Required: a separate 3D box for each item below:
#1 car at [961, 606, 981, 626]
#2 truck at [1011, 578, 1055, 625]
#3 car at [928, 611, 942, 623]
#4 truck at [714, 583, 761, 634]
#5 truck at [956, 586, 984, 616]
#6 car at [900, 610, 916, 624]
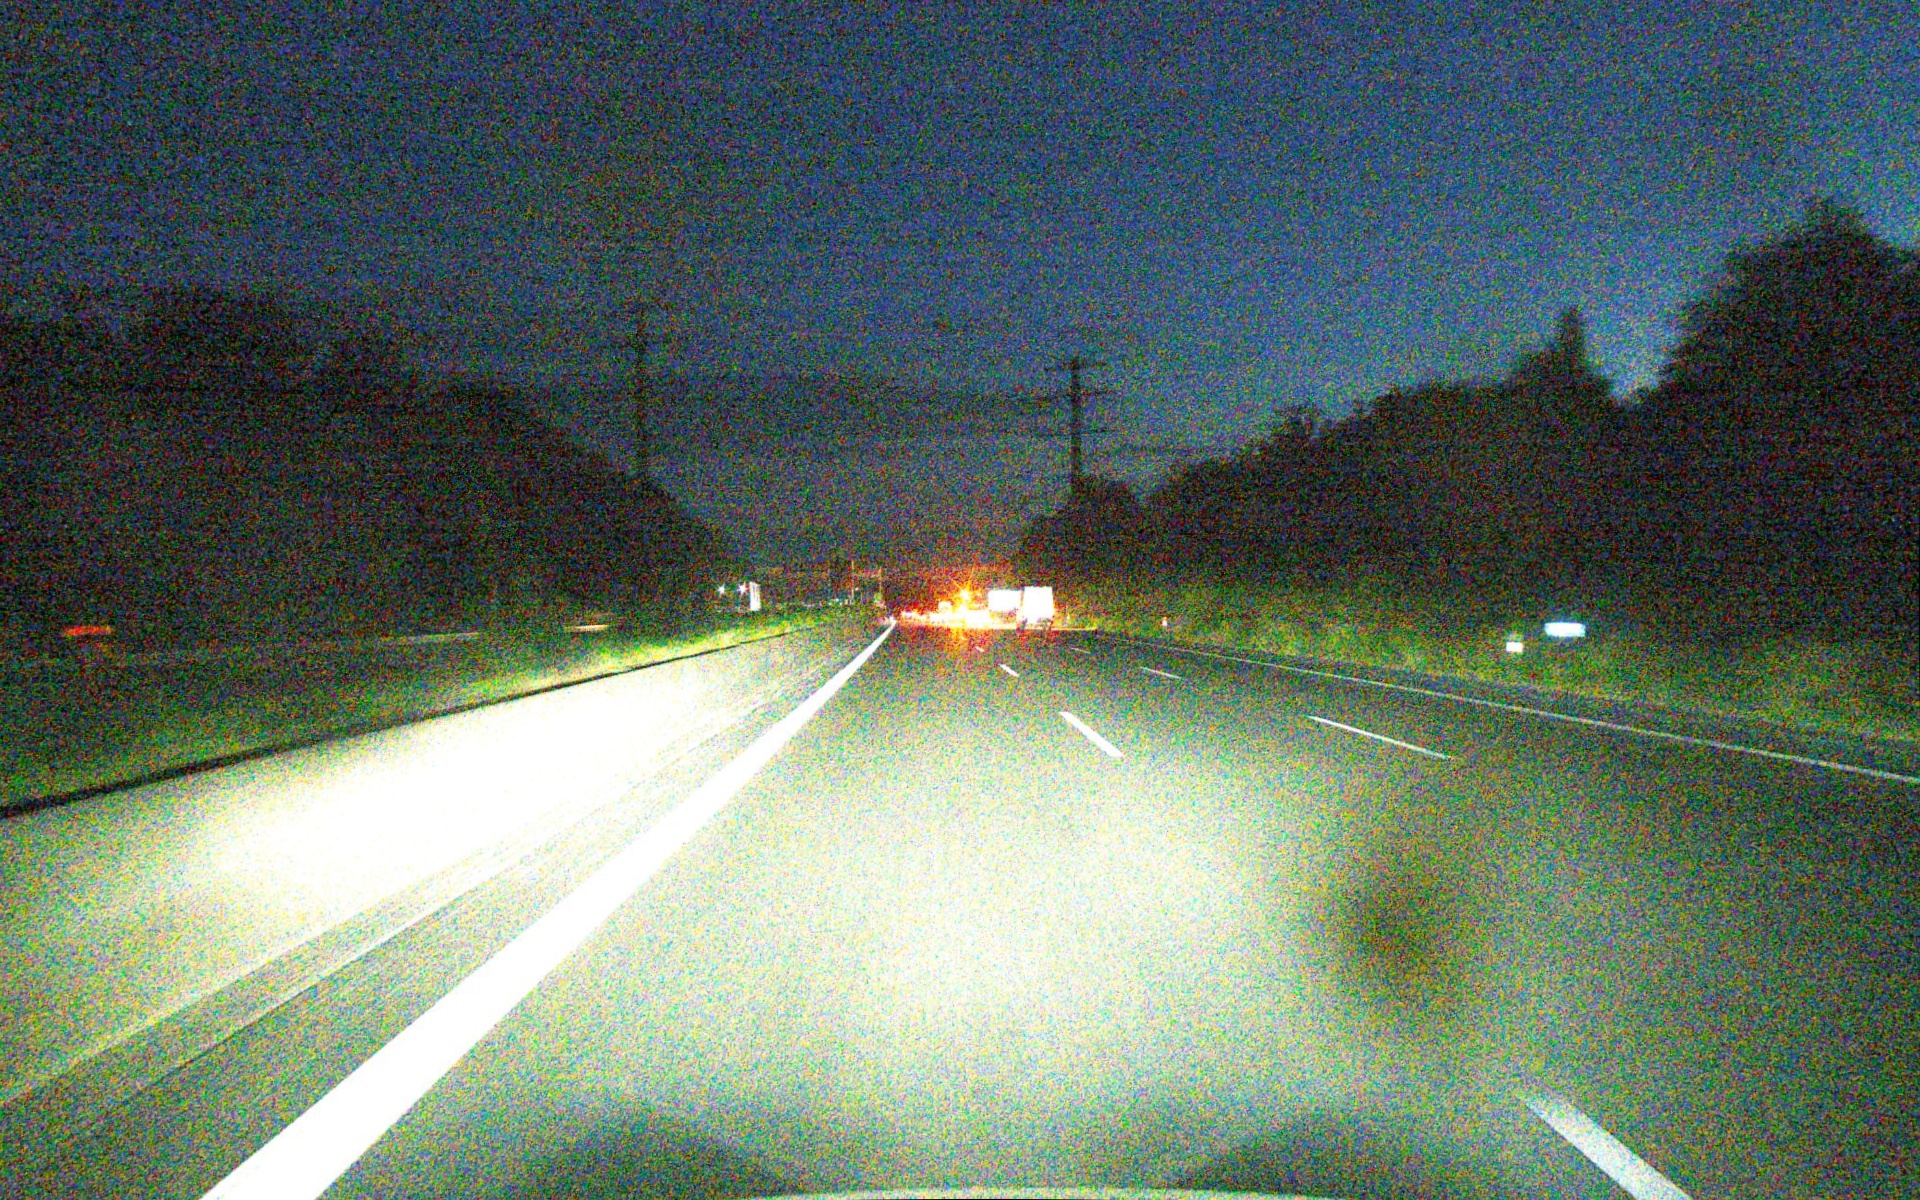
[{"bbox_3d":[0.803,1.159,119.967,1.319,1.411,3.500,1,0,-1],"label":"car"},{"bbox_3d":[4.609,0.138,105.578,2.035,2.738,7.302,1,-2,-3],"label":"truck"},{"bbox_3d":[-3.394,2.283,223.632,1.784,1.492,4.246,1,0,-1],"label":"car"},{"bbox_3d":[-20.282,0.695,151.707,3.052,4.276,16.965,-2,0,-4],"label":"truck"},{"bbox_3d":[1.154,0.086,193.289,2.982,3.383,10.139,1,0,-1],"label":"truck"},{"bbox_3d":[-6.013,1.951,193.034,1.784,1.492,4.246,1,0,-1],"label":"car"}]
